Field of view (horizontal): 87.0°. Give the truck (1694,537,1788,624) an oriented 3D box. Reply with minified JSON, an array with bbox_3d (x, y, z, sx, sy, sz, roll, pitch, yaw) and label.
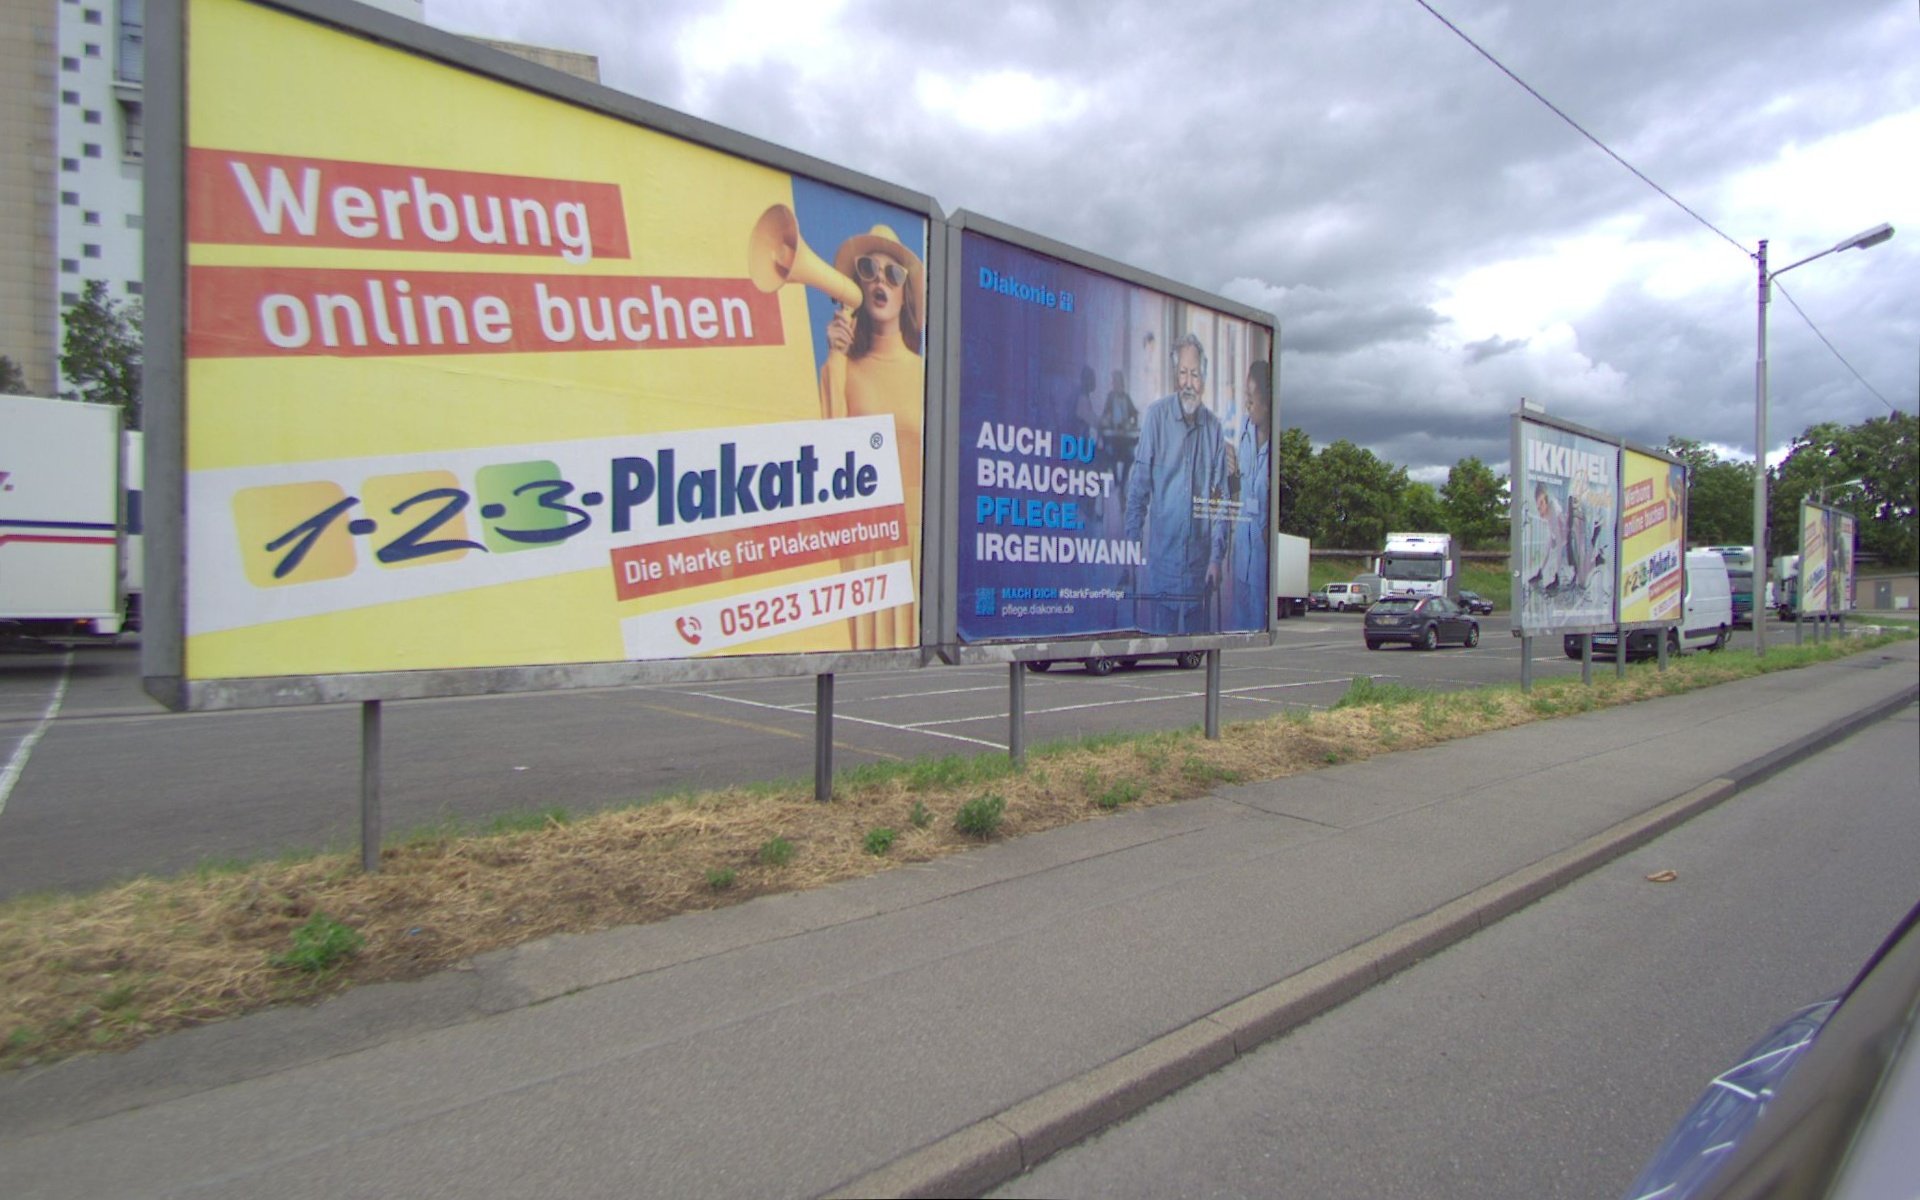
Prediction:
[{"bbox_3d":[35.618,-0.918,46.362,2.855,3.675,6.674,2,2,34],"label":"truck"}]

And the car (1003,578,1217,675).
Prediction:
[{"bbox_3d":[2.821,0.433,18.573,3.931,1.591,1.767,0,-1,-41],"label":"car"}]

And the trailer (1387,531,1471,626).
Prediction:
[{"bbox_3d":[23.617,-1.080,50.526,2.815,4.145,13.261,2,2,29],"label":"trailer"}]

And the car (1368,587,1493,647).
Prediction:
[{"bbox_3d":[12.812,0.406,27.475,3.980,1.513,1.496,0,1,-39],"label":"car"}]

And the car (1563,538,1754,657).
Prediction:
[{"bbox_3d":[16.289,-0.090,23.450,5.974,2.446,2.091,0,1,-39],"label":"car"}]

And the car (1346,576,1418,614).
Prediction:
[{"bbox_3d":[29.050,-0.359,69.827,2.321,2.479,4.928,0,1,-9],"label":"car"}]

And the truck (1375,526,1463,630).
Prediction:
[{"bbox_3d":[20.162,-0.977,44.236,2.850,4.146,6.687,2,2,29],"label":"truck"}]

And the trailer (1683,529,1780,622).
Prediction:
[{"bbox_3d":[39.074,-1.212,51.647,2.820,4.145,13.238,2,2,33],"label":"trailer"}]

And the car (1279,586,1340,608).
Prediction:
[{"bbox_3d":[24.083,-0.231,69.936,1.959,1.457,4.728,0,1,-9],"label":"car"}]

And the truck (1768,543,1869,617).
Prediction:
[{"bbox_3d":[47.635,-1.083,56.412,2.808,3.758,9.004,1,1,31],"label":"truck"}]

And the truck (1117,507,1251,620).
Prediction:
[{"bbox_3d":[9.135,-1.415,40.719,2.857,4.146,6.671,2,2,35],"label":"truck"}]

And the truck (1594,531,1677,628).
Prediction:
[{"bbox_3d":[30.619,-0.937,45.912,2.855,4.063,6.674,2,2,34],"label":"truck"}]

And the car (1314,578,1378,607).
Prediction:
[{"bbox_3d":[26.523,-0.516,69.676,1.959,1.916,4.728,0,1,-9],"label":"car"}]

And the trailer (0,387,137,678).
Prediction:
[{"bbox_3d":[-17.092,-0.987,12.857,10.215,4.016,2.966,0,3,-38],"label":"trailer"}]

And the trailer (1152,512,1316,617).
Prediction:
[{"bbox_3d":[12.834,-1.518,46.101,2.822,4.145,13.228,2,2,35],"label":"trailer"}]
